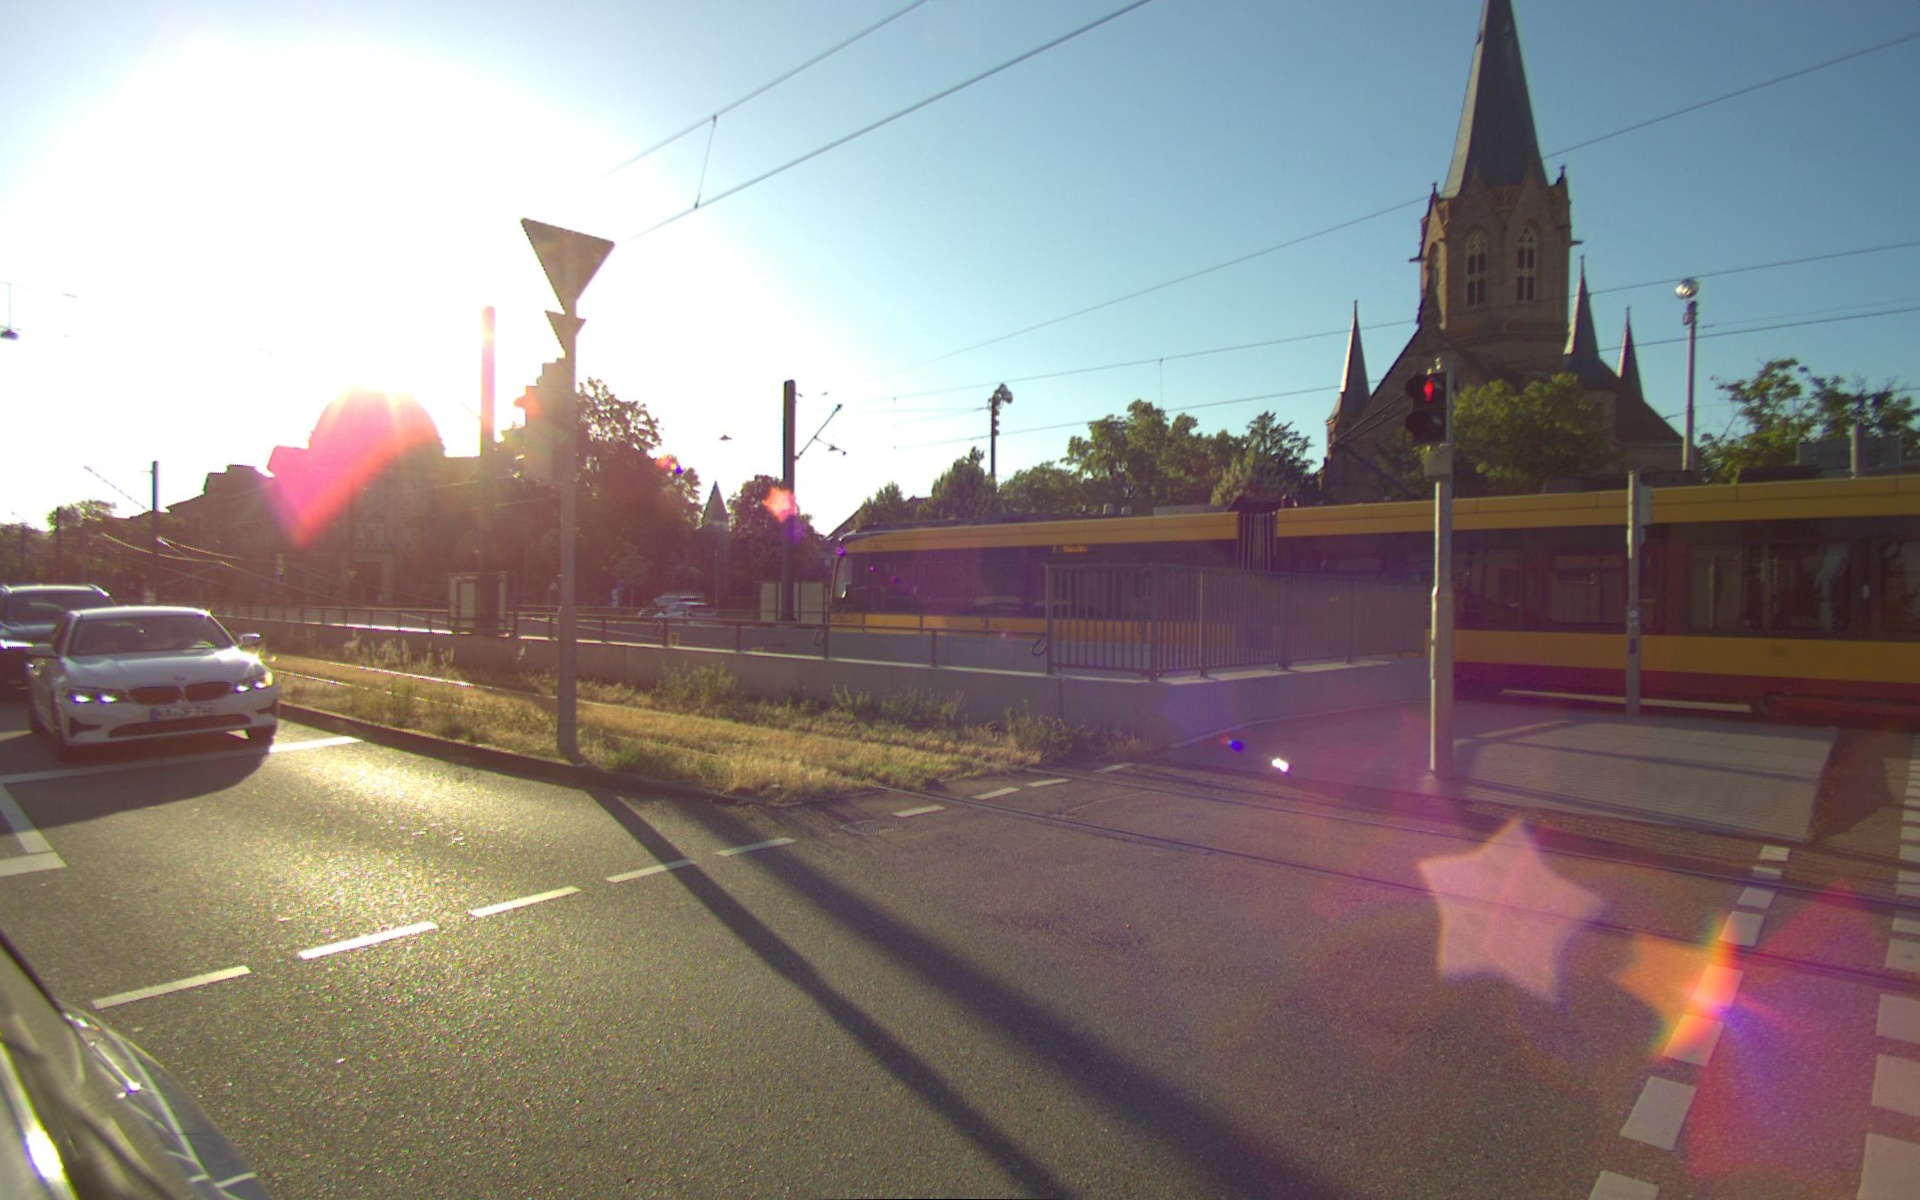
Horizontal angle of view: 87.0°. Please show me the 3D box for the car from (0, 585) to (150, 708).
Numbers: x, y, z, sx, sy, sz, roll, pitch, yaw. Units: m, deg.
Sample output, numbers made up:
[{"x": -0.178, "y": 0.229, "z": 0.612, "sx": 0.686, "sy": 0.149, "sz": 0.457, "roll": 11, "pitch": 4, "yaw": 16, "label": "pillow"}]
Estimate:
[{"x": -15.122, "y": 0.659, "z": 16.730, "sx": 4.850, "sy": 1.725, "sz": 1.930, "roll": 0, "pitch": 2, "yaw": 42, "label": "car"}]

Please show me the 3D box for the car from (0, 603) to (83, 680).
[{"x": -19.642, "y": 0.807, "z": 20.953, "sx": 3.919, "sy": 1.411, "sz": 1.791, "roll": 0, "pitch": 2, "yaw": 43, "label": "car"}]

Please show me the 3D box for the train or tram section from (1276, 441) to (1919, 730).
[{"x": 11.472, "y": -0.177, "z": 14.748, "sx": 13.252, "sy": 3.562, "sz": 2.743, "roll": 0, "pitch": 0, "yaw": 43, "label": "train or tram section"}]

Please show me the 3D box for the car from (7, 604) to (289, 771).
[{"x": -9.191, "y": 0.791, "z": 11.295, "sx": 4.584, "sy": 1.411, "sz": 1.818, "roll": 0, "pitch": 2, "yaw": 43, "label": "car"}]

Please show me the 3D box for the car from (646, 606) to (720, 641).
[{"x": -12.929, "y": 1.053, "z": 47.125, "sx": 3.674, "sy": 1.552, "sz": 1.691, "roll": 0, "pitch": 0, "yaw": 44, "label": "car"}]

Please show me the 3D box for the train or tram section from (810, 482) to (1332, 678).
[{"x": 1.714, "y": -0.366, "z": 23.863, "sx": 13.252, "sy": 3.562, "sz": 2.743, "roll": 0, "pitch": 0, "yaw": 43, "label": "train or tram section"}]
